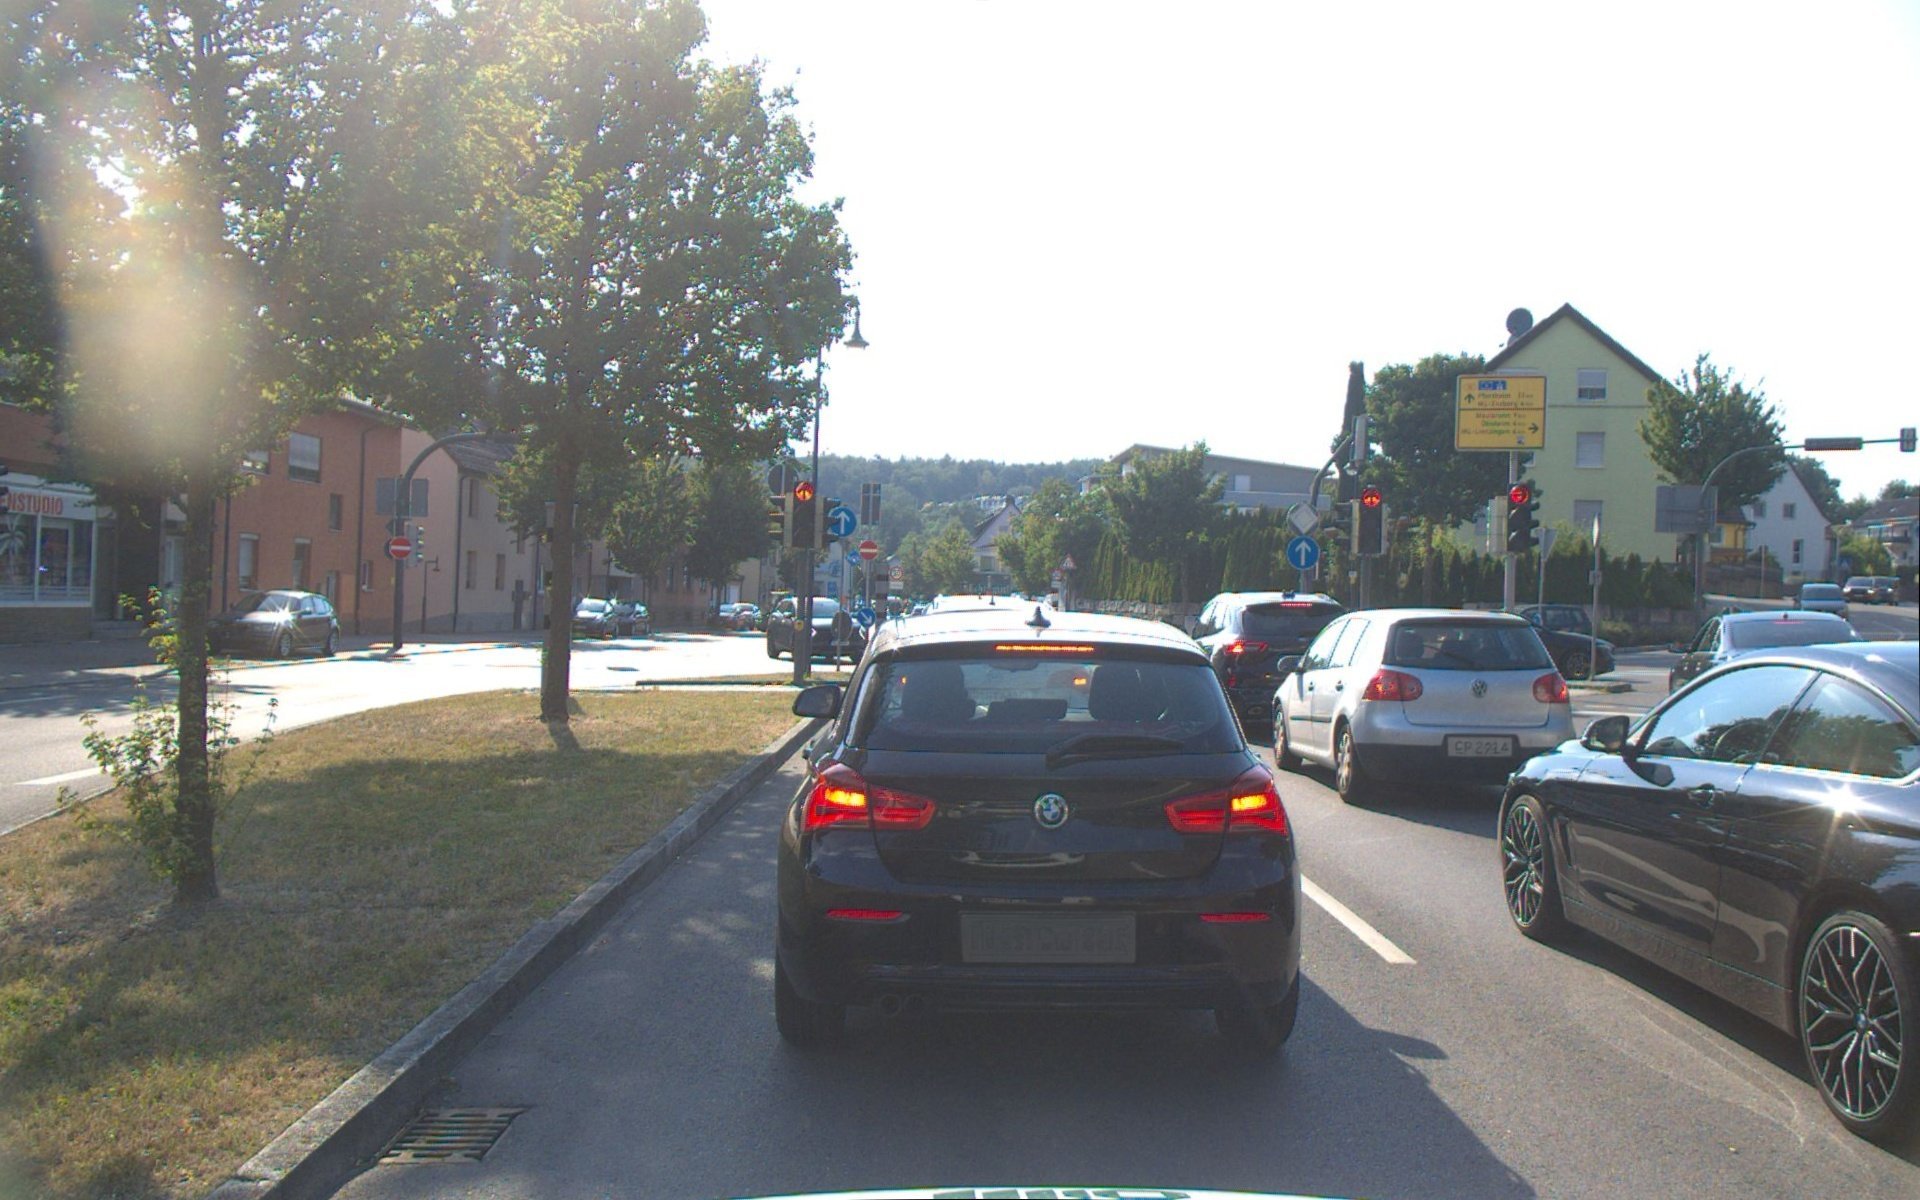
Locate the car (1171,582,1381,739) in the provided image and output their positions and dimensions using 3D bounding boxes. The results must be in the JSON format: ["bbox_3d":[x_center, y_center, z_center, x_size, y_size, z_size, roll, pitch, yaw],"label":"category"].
[{"bbox_3d":[3.736,0.660,20.286,1.779,1.695,4.347,1,0,1],"label":"car"}]

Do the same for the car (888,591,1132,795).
[{"bbox_3d":[0.396,0.681,14.282,1.779,1.476,4.242,1,0,1],"label":"car"}]

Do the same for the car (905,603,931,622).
[{"bbox_3d":[-3.635,1.080,141.780,1.826,1.511,4.652,1,0,-6],"label":"car"}]

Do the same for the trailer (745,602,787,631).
[{"bbox_3d":[-11.103,0.914,94.988,1.953,1.579,3.999,1,0,-1],"label":"trailer"}]

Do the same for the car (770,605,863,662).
[{"bbox_3d":[-3.853,0.865,43.873,1.666,1.377,3.982,1,0,-17],"label":"car"}]

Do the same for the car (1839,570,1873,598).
[{"bbox_3d":[53.962,-0.925,99.561,1.742,1.607,3.993,1,0,29],"label":"car"}]

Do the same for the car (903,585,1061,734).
[{"bbox_3d":[0.277,0.673,20.952,1.779,1.670,4.242,1,0,1],"label":"car"}]

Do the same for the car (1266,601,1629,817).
[{"bbox_3d":[3.813,0.766,13.756,1.779,1.471,4.347,1,0,1],"label":"car"}]

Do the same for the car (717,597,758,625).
[{"bbox_3d":[-13.765,0.664,102.583,1.884,1.624,4.000,1,0,1],"label":"car"}]

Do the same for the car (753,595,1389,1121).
[{"bbox_3d":[0.338,0.713,6.778,1.754,1.439,4.347,1,0,1],"label":"car"}]

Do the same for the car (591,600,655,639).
[{"bbox_3d":[-14.803,0.841,72.879,1.884,1.624,4.000,1,0,1],"label":"car"}]

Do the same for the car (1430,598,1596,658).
[{"bbox_3d":[14.987,0.761,44.871,3.990,1.533,1.784,1,0,-16],"label":"car"}]

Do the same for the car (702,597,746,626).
[{"bbox_3d":[-13.812,0.674,97.077,1.884,1.624,4.000,1,0,1],"label":"car"}]

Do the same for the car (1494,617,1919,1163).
[{"bbox_3d":[3.474,0.803,5.888,1.779,1.413,4.347,1,0,1],"label":"car"}]

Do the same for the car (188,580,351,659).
[{"bbox_3d":[-15.498,0.412,37.358,1.805,1.579,4.001,3,0,2],"label":"car"}]

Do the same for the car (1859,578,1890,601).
[{"bbox_3d":[65.800,-0.750,119.002,1.744,1.607,3.990,1,0,32],"label":"car"}]

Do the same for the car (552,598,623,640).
[{"bbox_3d":[-15.019,0.730,66.831,1.884,1.624,4.000,1,0,1],"label":"car"}]

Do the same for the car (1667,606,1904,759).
[{"bbox_3d":[9.060,0.811,18.497,1.646,1.460,4.592,1,0,17],"label":"car"}]

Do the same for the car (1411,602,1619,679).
[{"bbox_3d":[11.604,0.823,34.792,3.902,1.484,1.774,1,0,10],"label":"car"}]

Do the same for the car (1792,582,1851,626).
[{"bbox_3d":[30.472,0.112,58.574,1.677,1.265,3.999,0,4,25],"label":"car"}]
